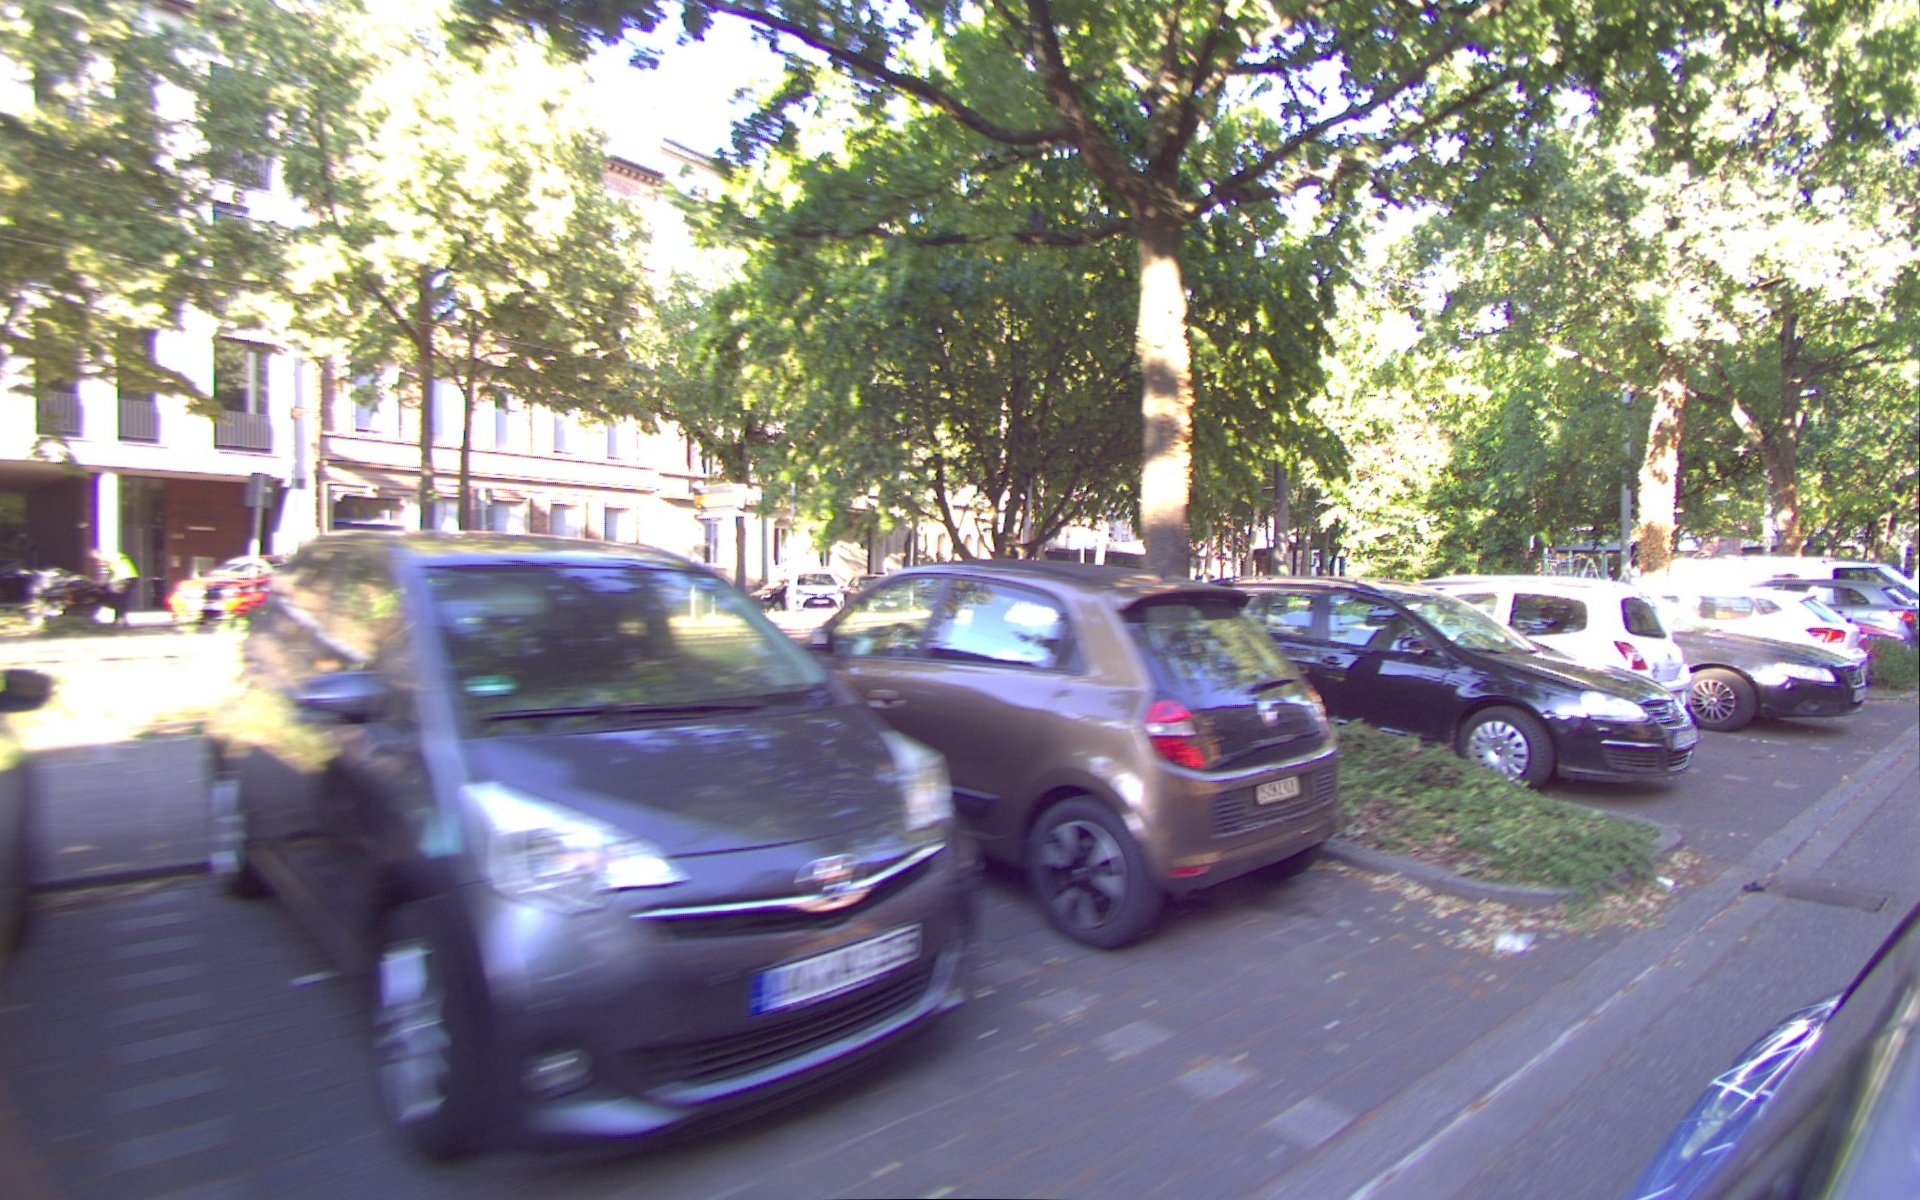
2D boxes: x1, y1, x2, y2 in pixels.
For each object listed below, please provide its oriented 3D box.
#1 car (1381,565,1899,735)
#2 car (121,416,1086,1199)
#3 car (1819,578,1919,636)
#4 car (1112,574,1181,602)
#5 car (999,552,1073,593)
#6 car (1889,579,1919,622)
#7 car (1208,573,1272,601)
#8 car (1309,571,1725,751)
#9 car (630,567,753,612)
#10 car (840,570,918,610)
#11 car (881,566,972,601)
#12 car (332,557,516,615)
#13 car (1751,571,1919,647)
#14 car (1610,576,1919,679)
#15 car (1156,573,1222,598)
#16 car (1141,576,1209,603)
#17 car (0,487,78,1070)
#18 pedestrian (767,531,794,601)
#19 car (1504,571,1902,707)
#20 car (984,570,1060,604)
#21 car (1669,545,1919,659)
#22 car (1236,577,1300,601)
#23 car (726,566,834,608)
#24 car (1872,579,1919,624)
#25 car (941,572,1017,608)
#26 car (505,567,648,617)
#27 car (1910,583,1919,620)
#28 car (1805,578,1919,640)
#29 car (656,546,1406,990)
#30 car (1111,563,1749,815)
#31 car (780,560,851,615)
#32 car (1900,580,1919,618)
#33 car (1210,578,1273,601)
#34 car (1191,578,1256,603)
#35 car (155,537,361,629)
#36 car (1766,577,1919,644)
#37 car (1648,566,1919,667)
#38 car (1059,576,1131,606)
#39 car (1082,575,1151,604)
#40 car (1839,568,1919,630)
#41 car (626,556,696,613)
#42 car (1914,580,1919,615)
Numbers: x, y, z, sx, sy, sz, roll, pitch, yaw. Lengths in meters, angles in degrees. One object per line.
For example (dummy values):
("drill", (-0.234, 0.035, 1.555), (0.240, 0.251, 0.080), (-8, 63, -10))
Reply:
("car", (7.712, 0.391, 11.960), (1.964, 1.592, 4.713), (-2, 2, -38))
("car", (-1.840, 0.454, 4.065), (4.437, 1.712, 1.919), (2, 3, 45))
("car", (26.381, 0.205, 27.794), (1.654, 1.507, 3.996), (0, 2, -39))
("car", (9.604, -0.652, 52.336), (1.711, 1.294, 4.010), (0, 2, -19))
("car", (4.312, -1.566, 56.923), (1.990, 2.199, 4.550), (2, 2, 38))
("car", (35.869, 0.062, 35.969), (1.654, 1.507, 3.996), (0, 2, -39))
("car", (18.886, -0.914, 68.366), (1.714, 1.788, 4.003), (0, 2, -33))
("car", (5.629, 0.479, 10.540), (1.687, 1.533, 3.408), (0, 1, -38))
("car", (-10.124, -0.437, 38.337), (1.989, 1.587, 4.186), (2, 2, 37))
("car", (-2.920, -0.392, 35.674), (1.771, 1.294, 4.292), (0, 2, -18))
("car", (-1.582, -0.830, 49.180), (1.990, 1.587, 4.550), (2, 2, 38))
("car", (-16.055, -0.443, 30.487), (1.992, 1.587, 4.526), (2, 2, 41))
("car", (20.497, 0.183, 22.745), (1.654, 1.573, 3.996), (0, 2, -39))
("car", (13.416, 0.357, 16.890), (1.654, 1.441, 3.996), (0, 2, -39))
("car", (12.885, -0.833, 57.202), (1.711, 1.294, 4.010), (0, 2, -19))
("car", (11.401, -0.583, 53.907), (1.711, 1.294, 4.010), (0, 2, -19))
("car", (-3.519, 0.492, 2.346), (1.915, 1.592, 4.551), (-2, 2, -38))
("pedestrian", (-7.731, -1.444, 43.636), (0.916, 2.984, 0.690), (1, 1, 38))
("car", (9.755, 0.394, 13.558), (1.654, 1.478, 3.996), (0, 2, -39))
("car", (2.540, -0.584, 42.494), (1.711, 1.294, 4.010), (0, 2, -19))
("car", (17.238, -0.025, 20.011), (2.117, 2.063, 4.856), (0, 2, -39))
("car", (18.940, -0.696, 62.392), (1.711, 1.294, 4.010), (0, 2, -19))
("car", (-7.354, -0.562, 41.670), (1.989, 1.587, 4.186), (2, 2, 37))
("car", (33.796, 0.094, 34.359), (1.654, 1.507, 3.996), (0, 2, -39))
("car", (0.708, -0.435, 40.584), (1.711, 1.294, 4.010), (0, 2, -19))
("car", (-13.020, -0.311, 34.558), (1.989, 1.587, 4.186), (2, 2, 37))
("car", (37.523, 0.111, 36.928), (1.654, 1.355, 3.996), (0, 2, -39))
("car", (24.402, 0.235, 25.906), (1.654, 1.507, 3.996), (0, 2, -39))
("car", (-0.027, 0.520, 6.010), (1.915, 1.592, 4.551), (-2, 2, -38))
("car", (3.710, 0.481, 8.863), (1.964, 1.592, 4.713), (-2, 2, -38))
("car", (-4.920, -0.467, 33.988), (1.771, 1.716, 4.292), (1, 2, -16))
("car", (39.710, 0.004, 39.672), (1.654, 1.507, 3.996), (0, 2, -39))
("car", (17.021, -0.658, 61.379), (1.711, 1.294, 4.010), (0, 2, -19))
("car", (15.281, -0.575, 58.907), (1.711, 1.294, 4.010), (0, 2, -19))
("car", (-14.834, -0.395, 21.738), (1.889, 1.743, 4.562), (1, 2, -10))
("car", (22.231, 0.231, 24.492), (1.654, 1.507, 3.996), (0, 2, -39))
("car", (15.154, 0.222, 18.466), (1.735, 1.599, 3.993), (0, 2, -42))
("car", (6.308, -0.432, 47.687), (1.711, 1.294, 4.010), (0, 2, -19))
("car", (7.763, -0.540, 50.572), (1.711, 1.294, 4.010), (0, 2, -19))
("car", (29.683, -0.017, 30.928), (1.654, 1.855, 3.996), (0, 2, -39))
("car", (-8.519, -0.484, 28.953), (1.771, 1.505, 4.292), (1, 2, -16))
("car", (42.978, -0.045, 42.539), (1.654, 1.507, 3.996), (0, 2, -39))
